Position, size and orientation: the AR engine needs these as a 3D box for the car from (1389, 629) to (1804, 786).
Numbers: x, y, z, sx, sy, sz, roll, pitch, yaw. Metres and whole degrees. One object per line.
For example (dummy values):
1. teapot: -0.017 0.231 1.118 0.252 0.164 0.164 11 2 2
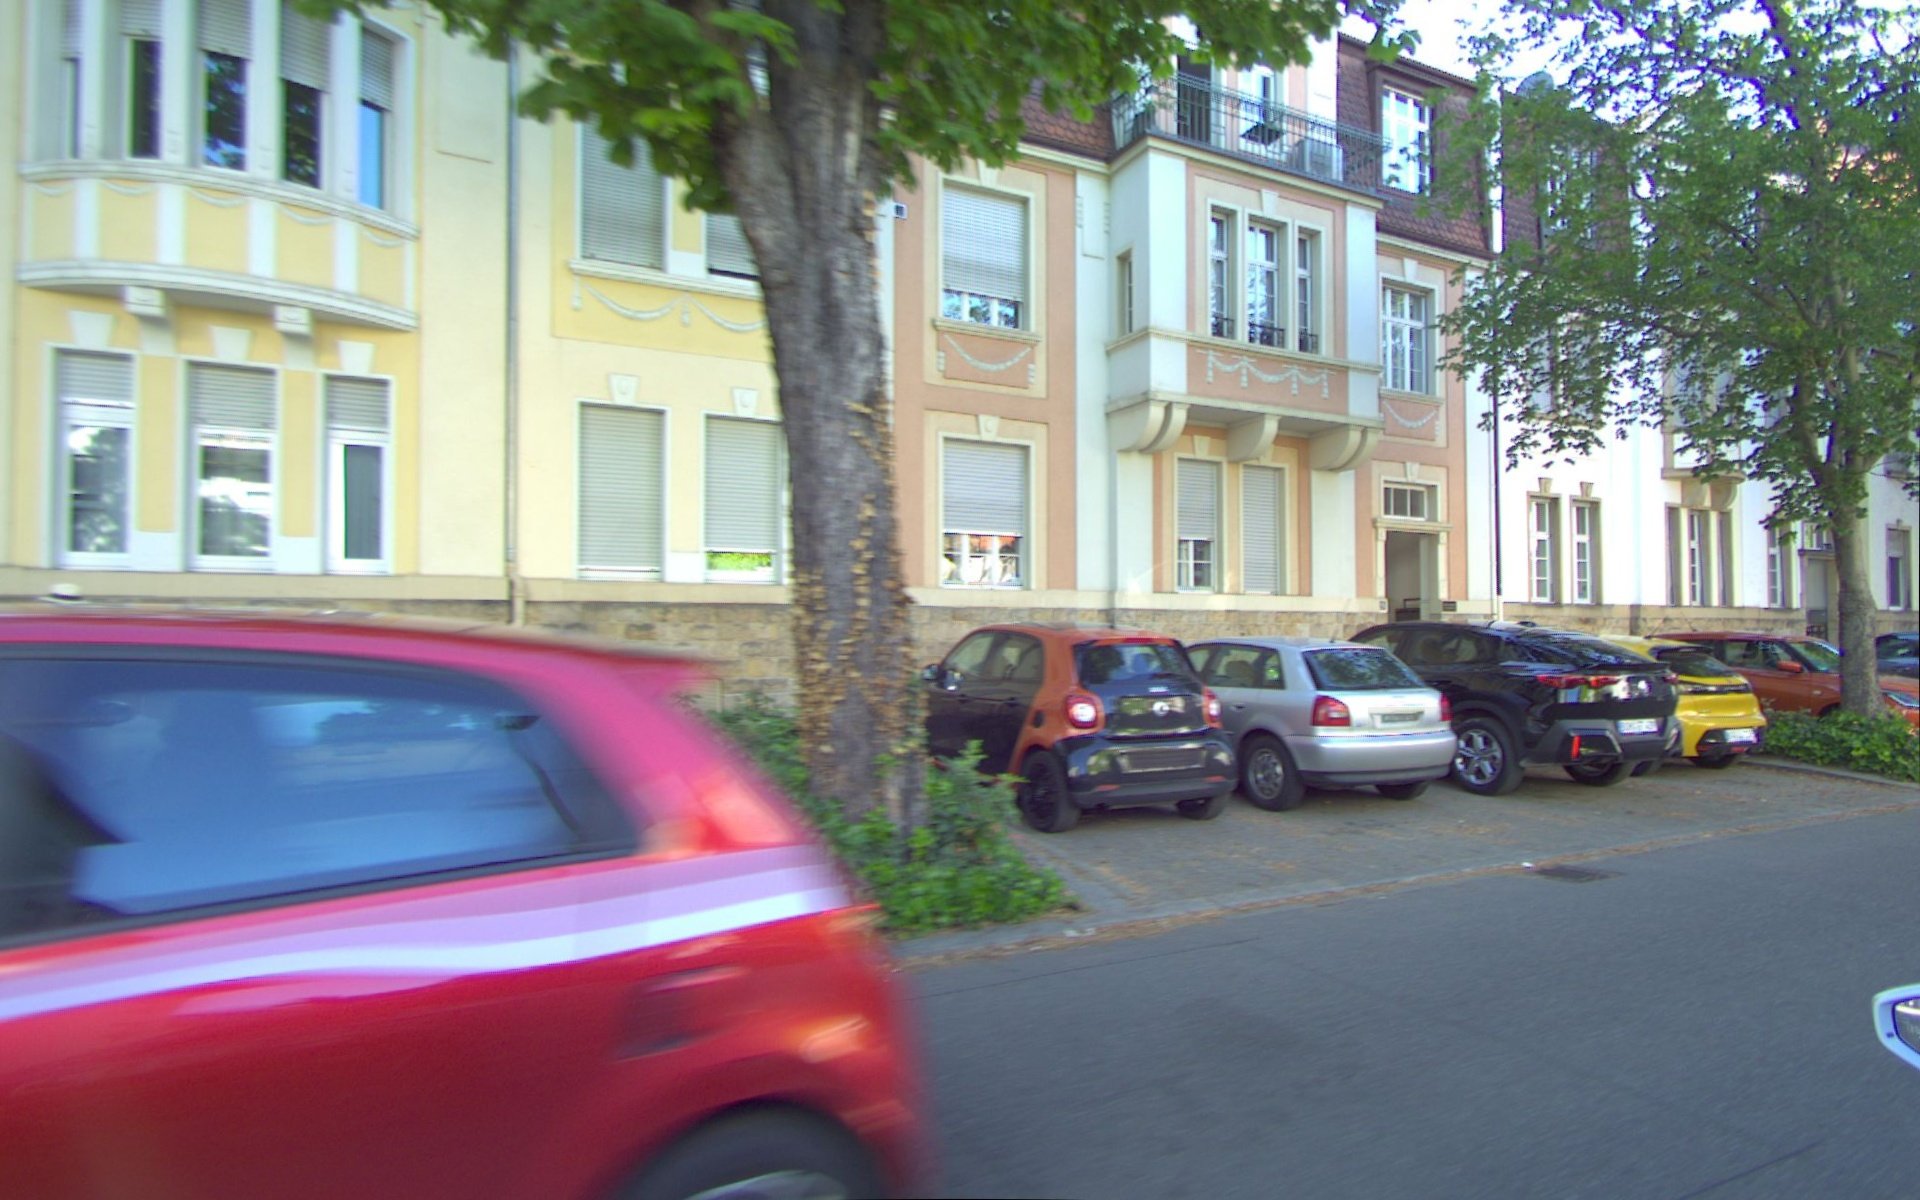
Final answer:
1. car: 7.264 1.111 11.892 1.838 1.481 3.780 1 -1 -24

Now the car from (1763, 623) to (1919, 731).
1. car: 15.387 1.193 15.765 1.835 1.613 3.973 1 -1 -26

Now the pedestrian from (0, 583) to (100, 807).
1. pedestrian: -7.325 0.720 7.765 0.880 1.680 0.459 1 -2 -18

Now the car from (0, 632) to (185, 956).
1. car: -5.582 0.919 5.177 1.679 1.471 3.425 2 -2 -24

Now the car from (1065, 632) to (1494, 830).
1. car: 2.818 1.066 9.810 1.805 1.422 3.976 1 -1 -24

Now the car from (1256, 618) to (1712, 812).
1. car: 5.177 1.006 10.531 1.838 1.587 3.976 1 -1 -24

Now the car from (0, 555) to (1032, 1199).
1. car: -1.846 0.743 1.878 3.654 1.528 1.636 1 -3 -27

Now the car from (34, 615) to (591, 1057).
1. car: -3.158 0.852 5.612 1.761 1.502 3.976 1 -1 -24

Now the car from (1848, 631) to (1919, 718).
1. car: 17.658 1.290 16.748 1.831 1.465 3.896 1 -1 -21

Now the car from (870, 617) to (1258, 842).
1. car: 0.652 0.992 9.016 1.699 1.527 3.977 1 -3 -24

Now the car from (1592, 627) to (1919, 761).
1. car: 11.059 1.150 13.577 1.724 1.534 3.974 2 -2 -26
